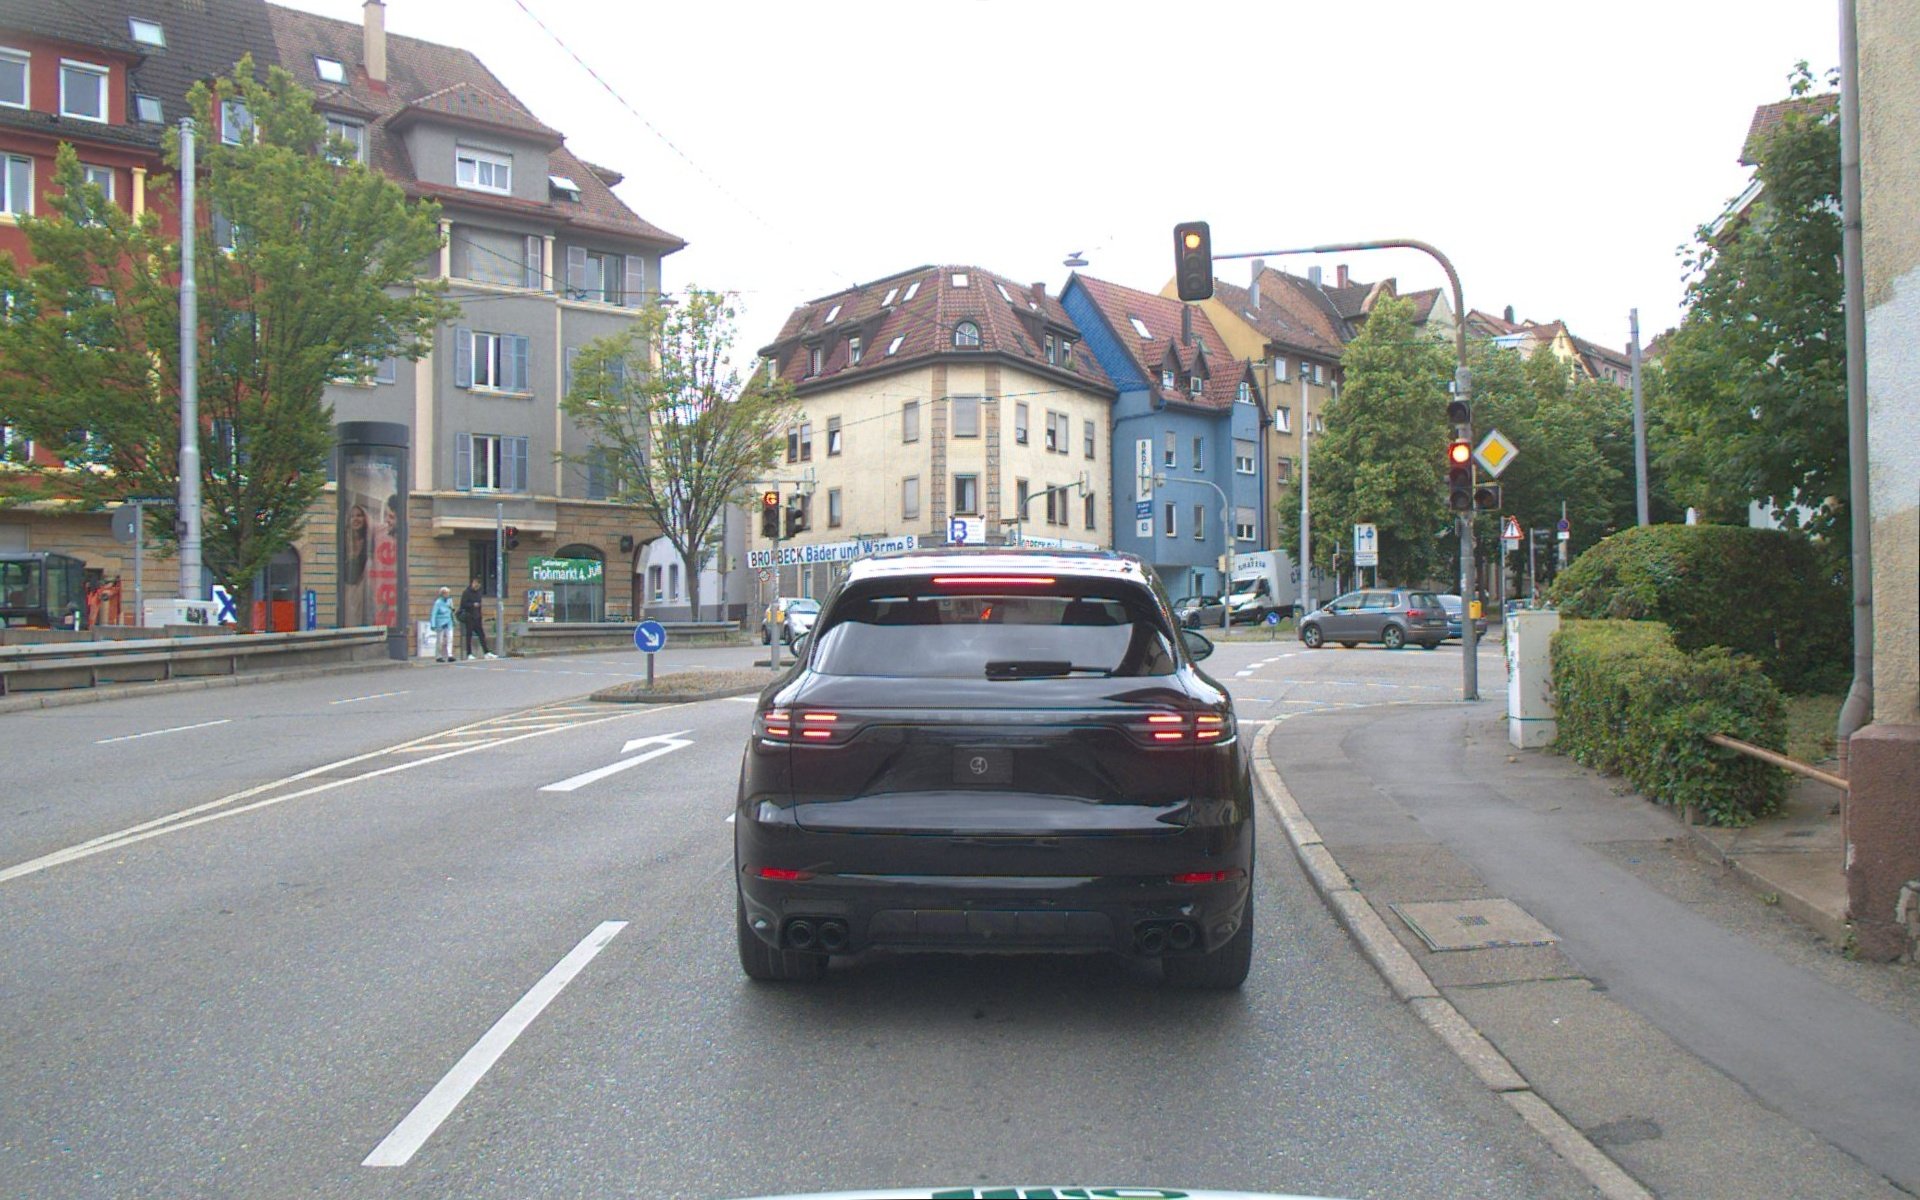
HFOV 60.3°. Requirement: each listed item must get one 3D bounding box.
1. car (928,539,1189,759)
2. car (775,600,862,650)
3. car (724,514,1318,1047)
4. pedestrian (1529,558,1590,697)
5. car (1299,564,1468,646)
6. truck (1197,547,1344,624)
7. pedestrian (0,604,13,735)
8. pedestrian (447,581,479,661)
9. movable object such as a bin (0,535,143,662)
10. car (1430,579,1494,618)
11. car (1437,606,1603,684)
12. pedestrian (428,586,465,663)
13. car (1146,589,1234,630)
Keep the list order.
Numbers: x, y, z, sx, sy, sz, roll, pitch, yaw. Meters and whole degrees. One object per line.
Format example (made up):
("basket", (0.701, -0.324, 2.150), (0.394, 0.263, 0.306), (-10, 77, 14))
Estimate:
("car", (1.037, 0.385, 15.068), (1.951, 1.713, 4.003), (0, 0, 10))
("car", (-4.810, 0.847, 56.689), (1.849, 1.607, 3.973), (-2, -1, 12))
("car", (0.088, 0.555, 7.376), (1.939, 1.713, 3.997), (0, 1, -4))
("pedestrian", (8.196, 0.375, 22.625), (0.577, 1.851, 0.529), (2, -1, -1))
("car", (11.192, 0.139, 43.911), (1.981, 2.049, 3.943), (2, -1, -39))
("truck", (14.886, -0.641, 78.772), (2.830, 3.398, 8.744), (2, 0, 41))
("pedestrian", (-13.281, 0.934, 22.558), (0.537, 1.760, 0.586), (2, -1, -35))
("pedestrian", (-11.166, 0.466, 37.153), (0.503, 1.760, 0.451), (2, -1, 1))
("movable object such as a bin", (-14.219, -0.043, 25.658), (1.870, 1.802, 3.986), (2, 0, -14))
("car", (28.449, -0.096, 93.644), (1.965, 2.049, 3.975), (2, 0, 42))
("car", (15.449, 1.217, 45.757), (1.977, 2.049, 3.951), (2, -1, -35))
("pedestrian", (-10.862, 0.523, 34.985), (0.577, 1.594, 0.486), (2, -1, -1))
("car", (10.037, 0.413, 72.035), (1.963, 1.713, 3.978), (0, 0, 40))
